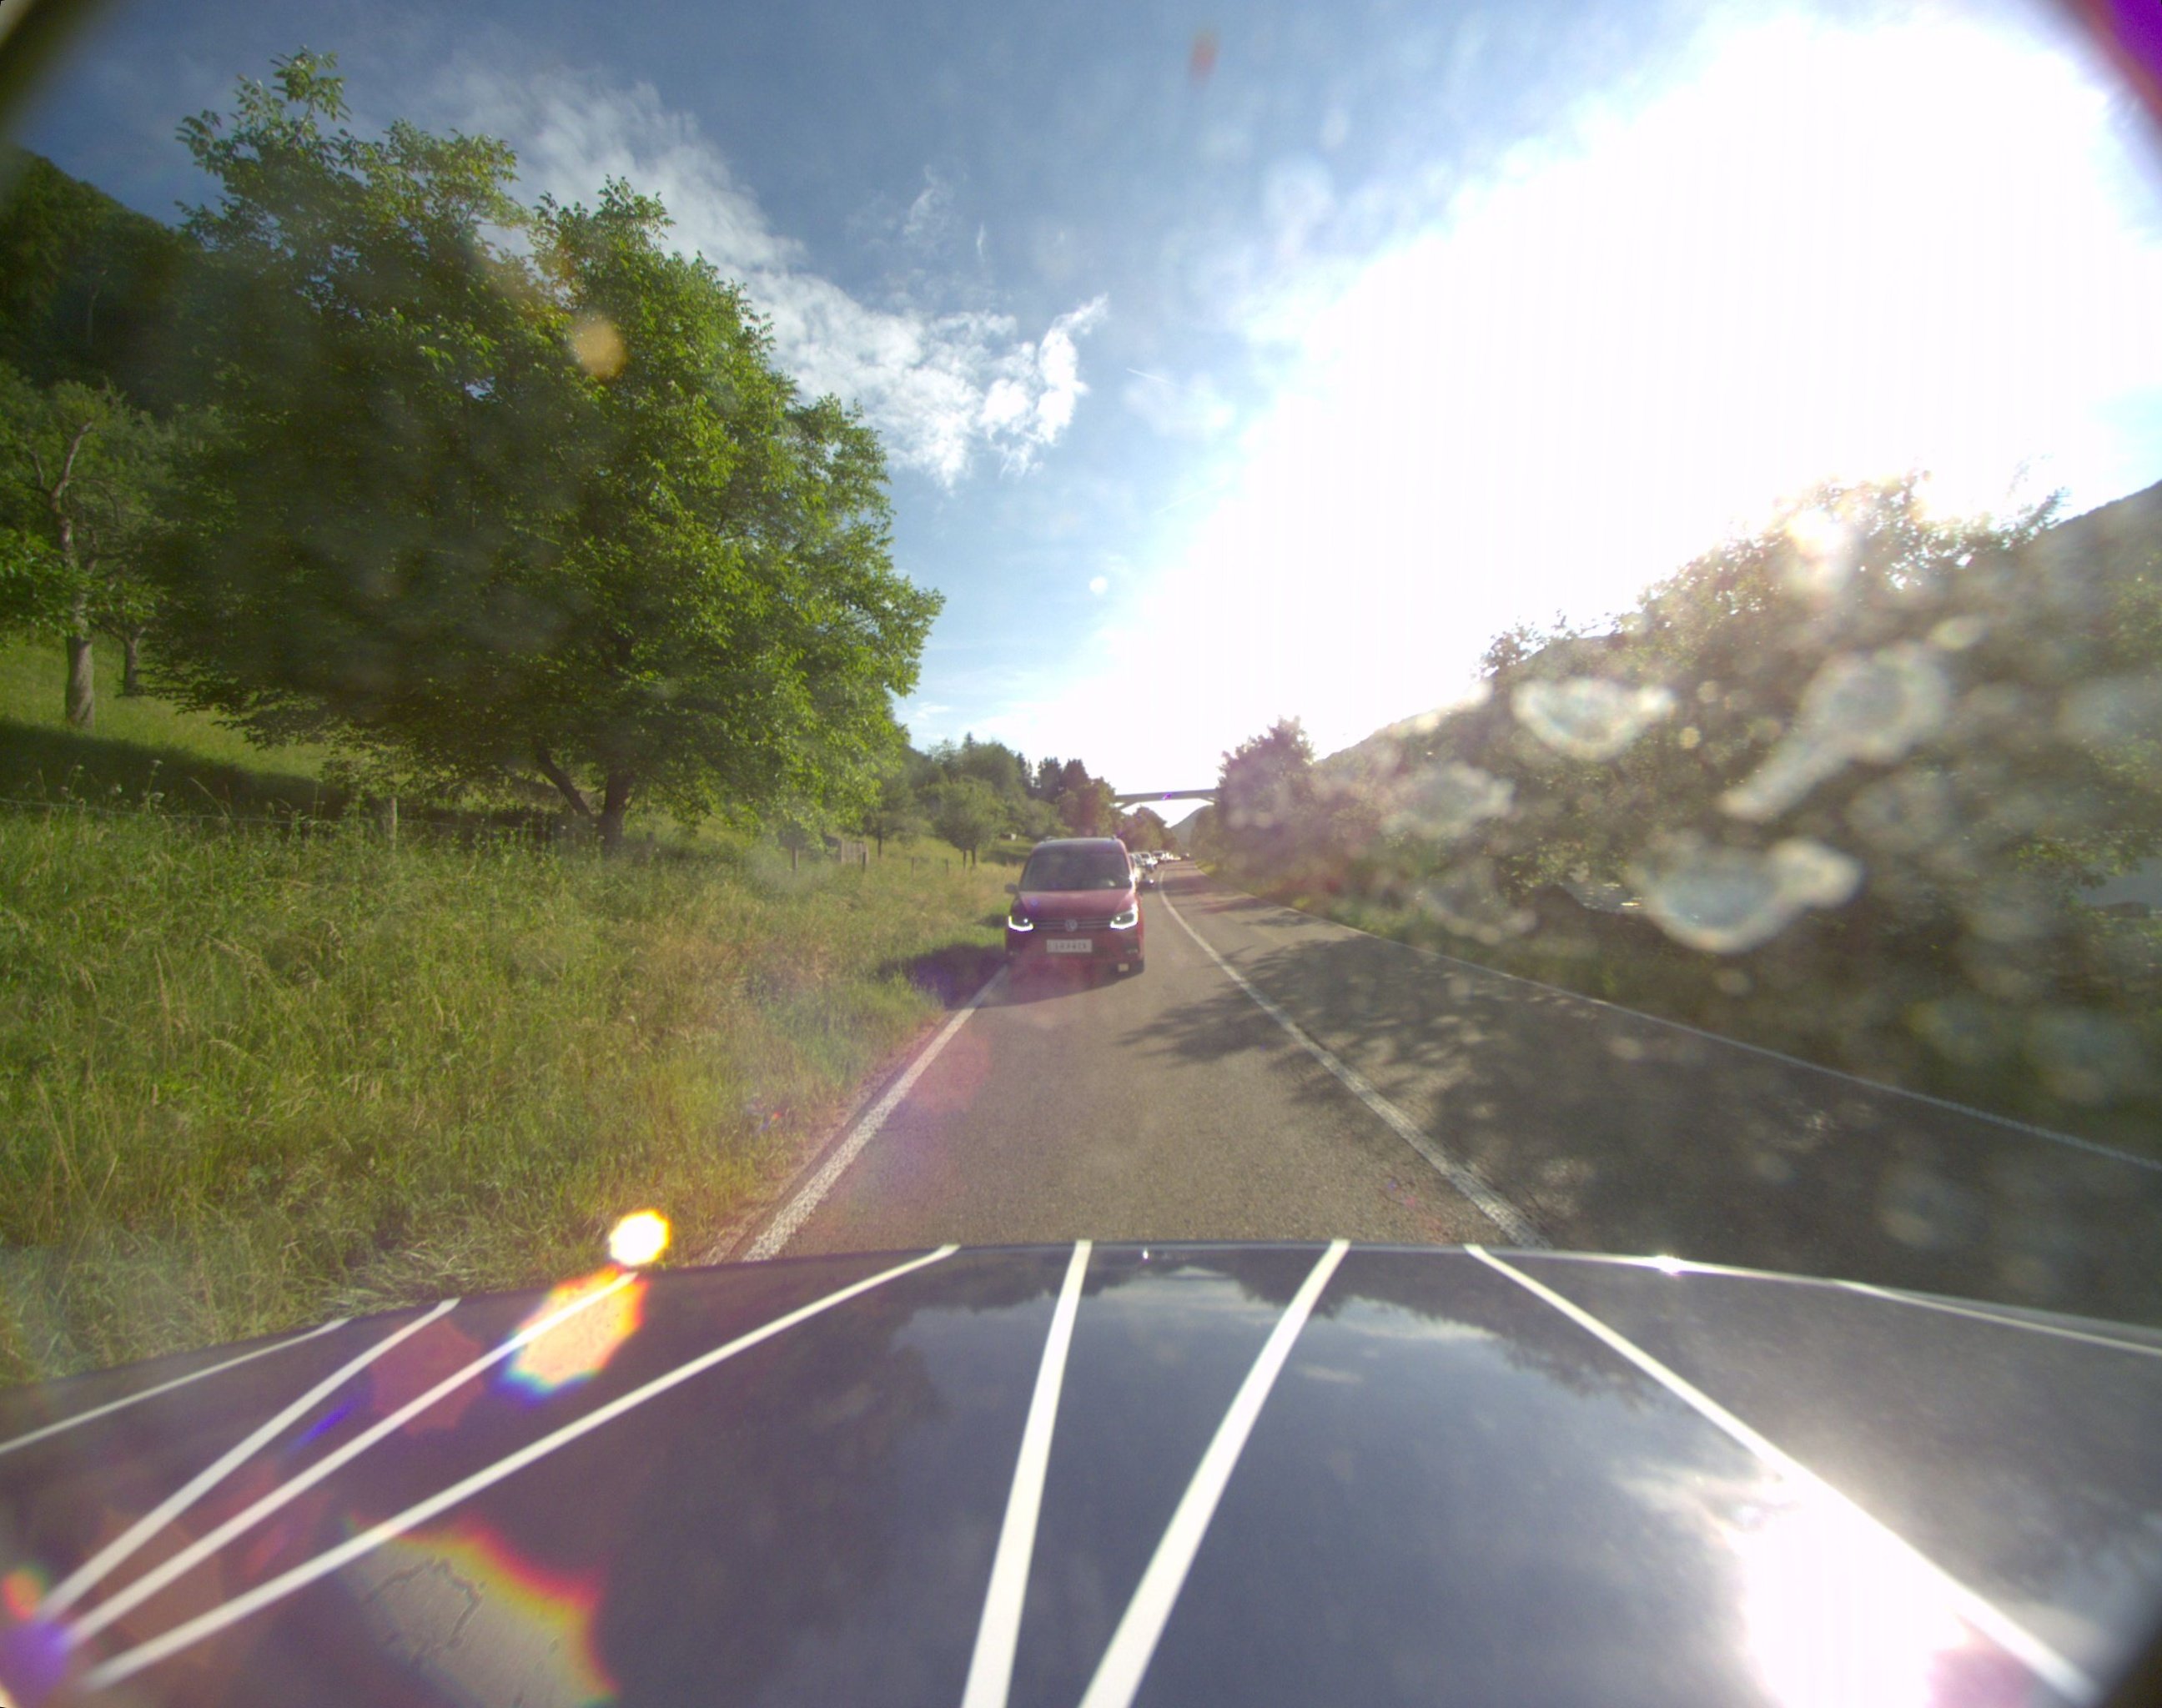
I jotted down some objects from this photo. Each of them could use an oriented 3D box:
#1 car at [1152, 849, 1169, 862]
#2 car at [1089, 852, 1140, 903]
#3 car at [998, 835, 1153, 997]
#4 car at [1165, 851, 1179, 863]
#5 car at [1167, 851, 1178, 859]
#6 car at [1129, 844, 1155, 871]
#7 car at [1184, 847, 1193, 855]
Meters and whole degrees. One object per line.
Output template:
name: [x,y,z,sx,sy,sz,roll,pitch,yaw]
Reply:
car: [10.336,0.174,98.654,1.817,1.608,4.003,-1,0,10]
car: [1.150,0.742,25.375,1.571,1.575,3.527,-1,0,4]
car: [-0.035,0.714,10.854,1.772,1.855,3.875,-1,1,1]
car: [13.417,0.414,111.901,1.817,1.608,4.002,-1,0,8]
car: [18.859,0.192,156.707,1.840,1.543,4.181,-1,0,12]
car: [4.751,0.221,59.006,1.914,2.002,4.002,-1,0,6]
car: [21.399,-0.572,151.445,1.817,1.608,3.808,-1,0,8]
